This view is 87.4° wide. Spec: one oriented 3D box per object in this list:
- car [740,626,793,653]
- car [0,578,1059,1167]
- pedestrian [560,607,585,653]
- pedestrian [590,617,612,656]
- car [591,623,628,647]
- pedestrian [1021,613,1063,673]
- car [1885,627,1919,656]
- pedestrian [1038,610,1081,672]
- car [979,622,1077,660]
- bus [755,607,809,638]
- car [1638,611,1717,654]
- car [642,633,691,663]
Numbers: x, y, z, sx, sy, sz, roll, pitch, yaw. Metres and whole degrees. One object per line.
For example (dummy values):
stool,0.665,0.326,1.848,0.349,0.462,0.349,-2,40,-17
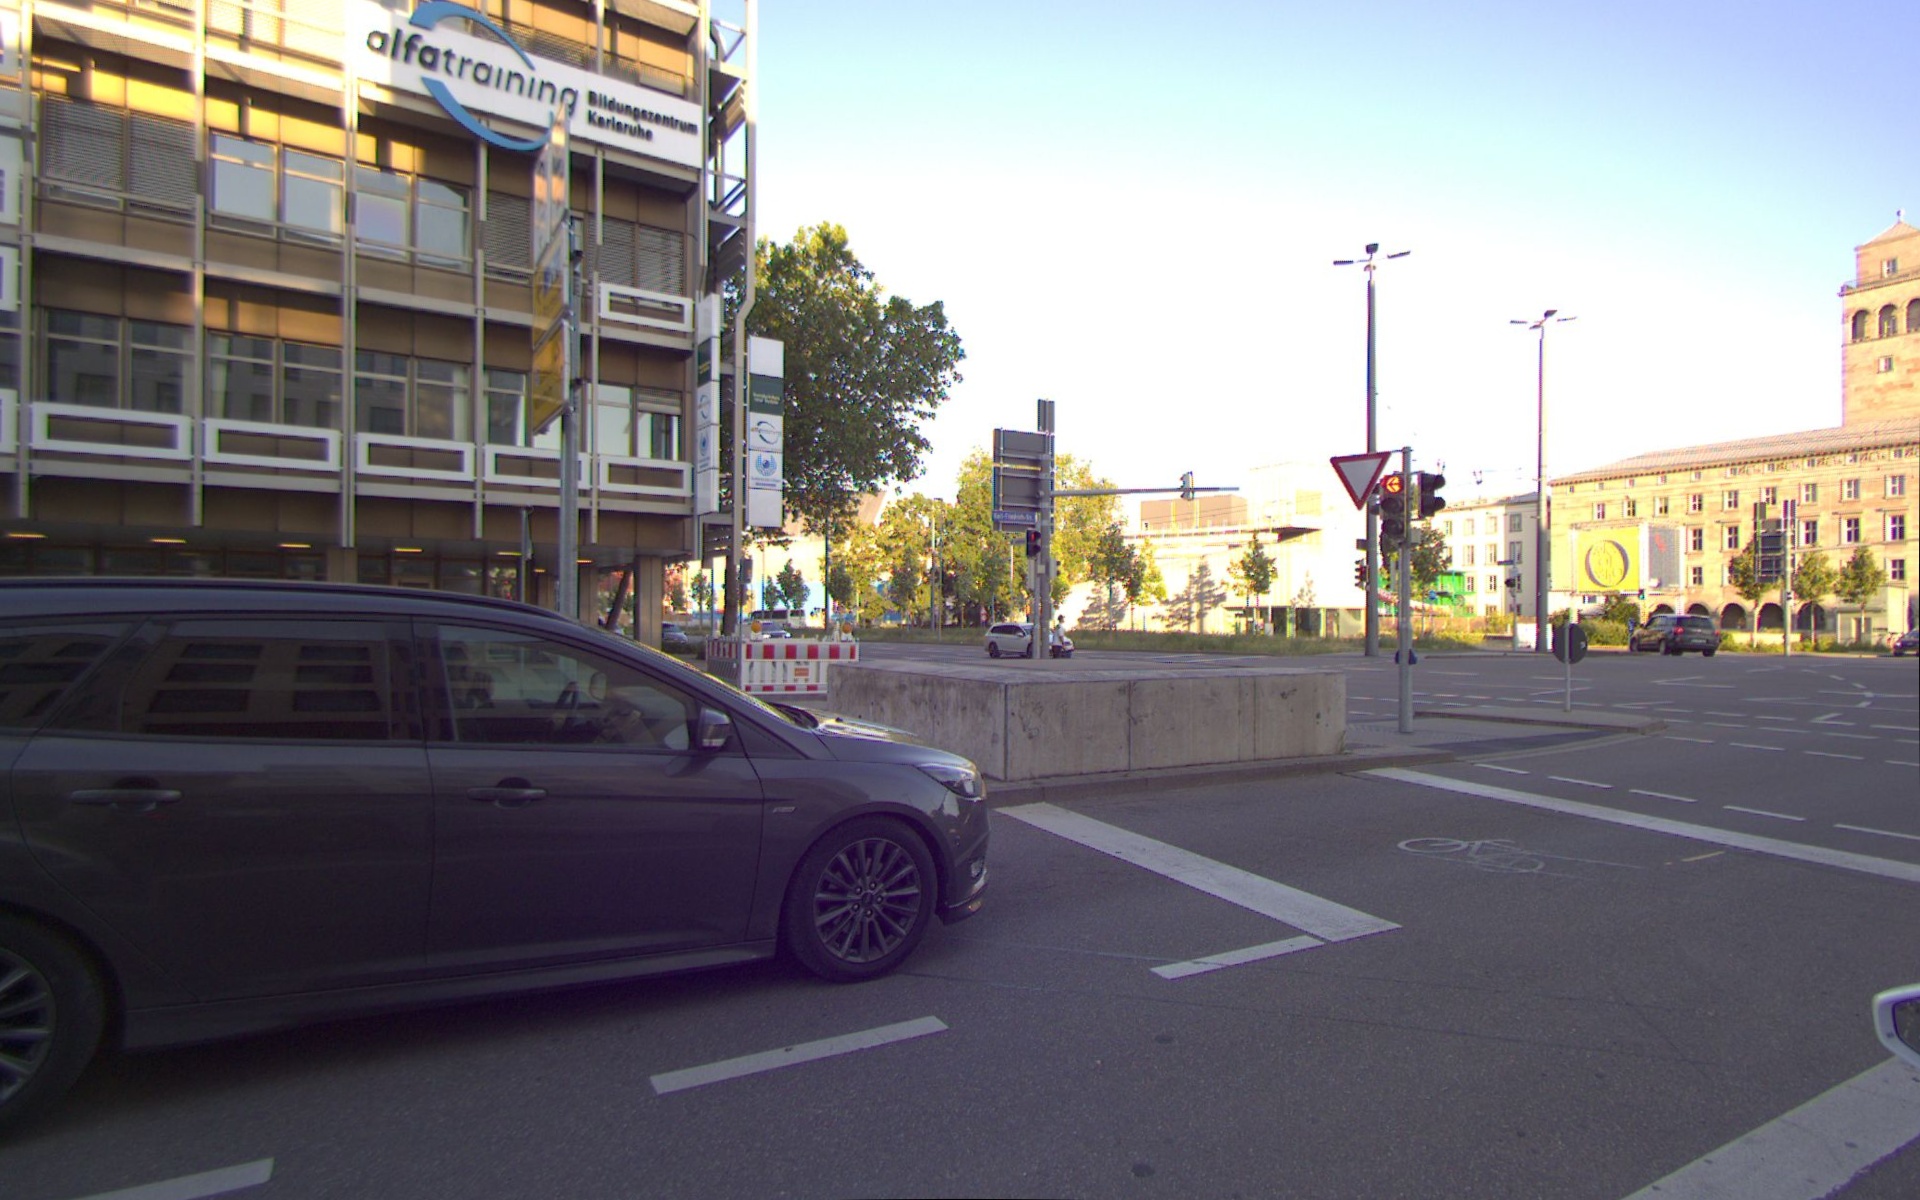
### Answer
car,-11.195,2.246,58.055,1.829,1.476,3.921,0,-1,-30
car,-1.880,0.688,3.864,4.330,1.482,1.748,1,1,-31
pedestrian,-16.003,1.234,41.486,0.749,1.830,0.715,2,0,-35
pedestrian,-14.924,1.507,41.750,0.660,1.606,0.715,2,0,-34
car,-24.345,2.419,69.761,1.722,1.605,3.764,0,-1,-31
pedestrian,2.426,1.263,29.771,0.949,1.744,0.816,1,-1,-34
car,51.246,2.199,53.530,4.111,1.485,1.813,0,-1,-32
pedestrian,2.865,1.172,29.049,0.949,1.744,0.816,1,-1,-34
car,2.772,1.656,41.955,1.830,1.476,4.553,0,-1,-31
bus,-23.154,2.858,130.111,2.959,3.818,10.341,1,-1,-34
car,28.751,1.267,40.364,1.711,1.626,4.132,0,-1,23
car,-17.216,2.762,58.755,1.722,1.605,4.554,0,-1,-30
